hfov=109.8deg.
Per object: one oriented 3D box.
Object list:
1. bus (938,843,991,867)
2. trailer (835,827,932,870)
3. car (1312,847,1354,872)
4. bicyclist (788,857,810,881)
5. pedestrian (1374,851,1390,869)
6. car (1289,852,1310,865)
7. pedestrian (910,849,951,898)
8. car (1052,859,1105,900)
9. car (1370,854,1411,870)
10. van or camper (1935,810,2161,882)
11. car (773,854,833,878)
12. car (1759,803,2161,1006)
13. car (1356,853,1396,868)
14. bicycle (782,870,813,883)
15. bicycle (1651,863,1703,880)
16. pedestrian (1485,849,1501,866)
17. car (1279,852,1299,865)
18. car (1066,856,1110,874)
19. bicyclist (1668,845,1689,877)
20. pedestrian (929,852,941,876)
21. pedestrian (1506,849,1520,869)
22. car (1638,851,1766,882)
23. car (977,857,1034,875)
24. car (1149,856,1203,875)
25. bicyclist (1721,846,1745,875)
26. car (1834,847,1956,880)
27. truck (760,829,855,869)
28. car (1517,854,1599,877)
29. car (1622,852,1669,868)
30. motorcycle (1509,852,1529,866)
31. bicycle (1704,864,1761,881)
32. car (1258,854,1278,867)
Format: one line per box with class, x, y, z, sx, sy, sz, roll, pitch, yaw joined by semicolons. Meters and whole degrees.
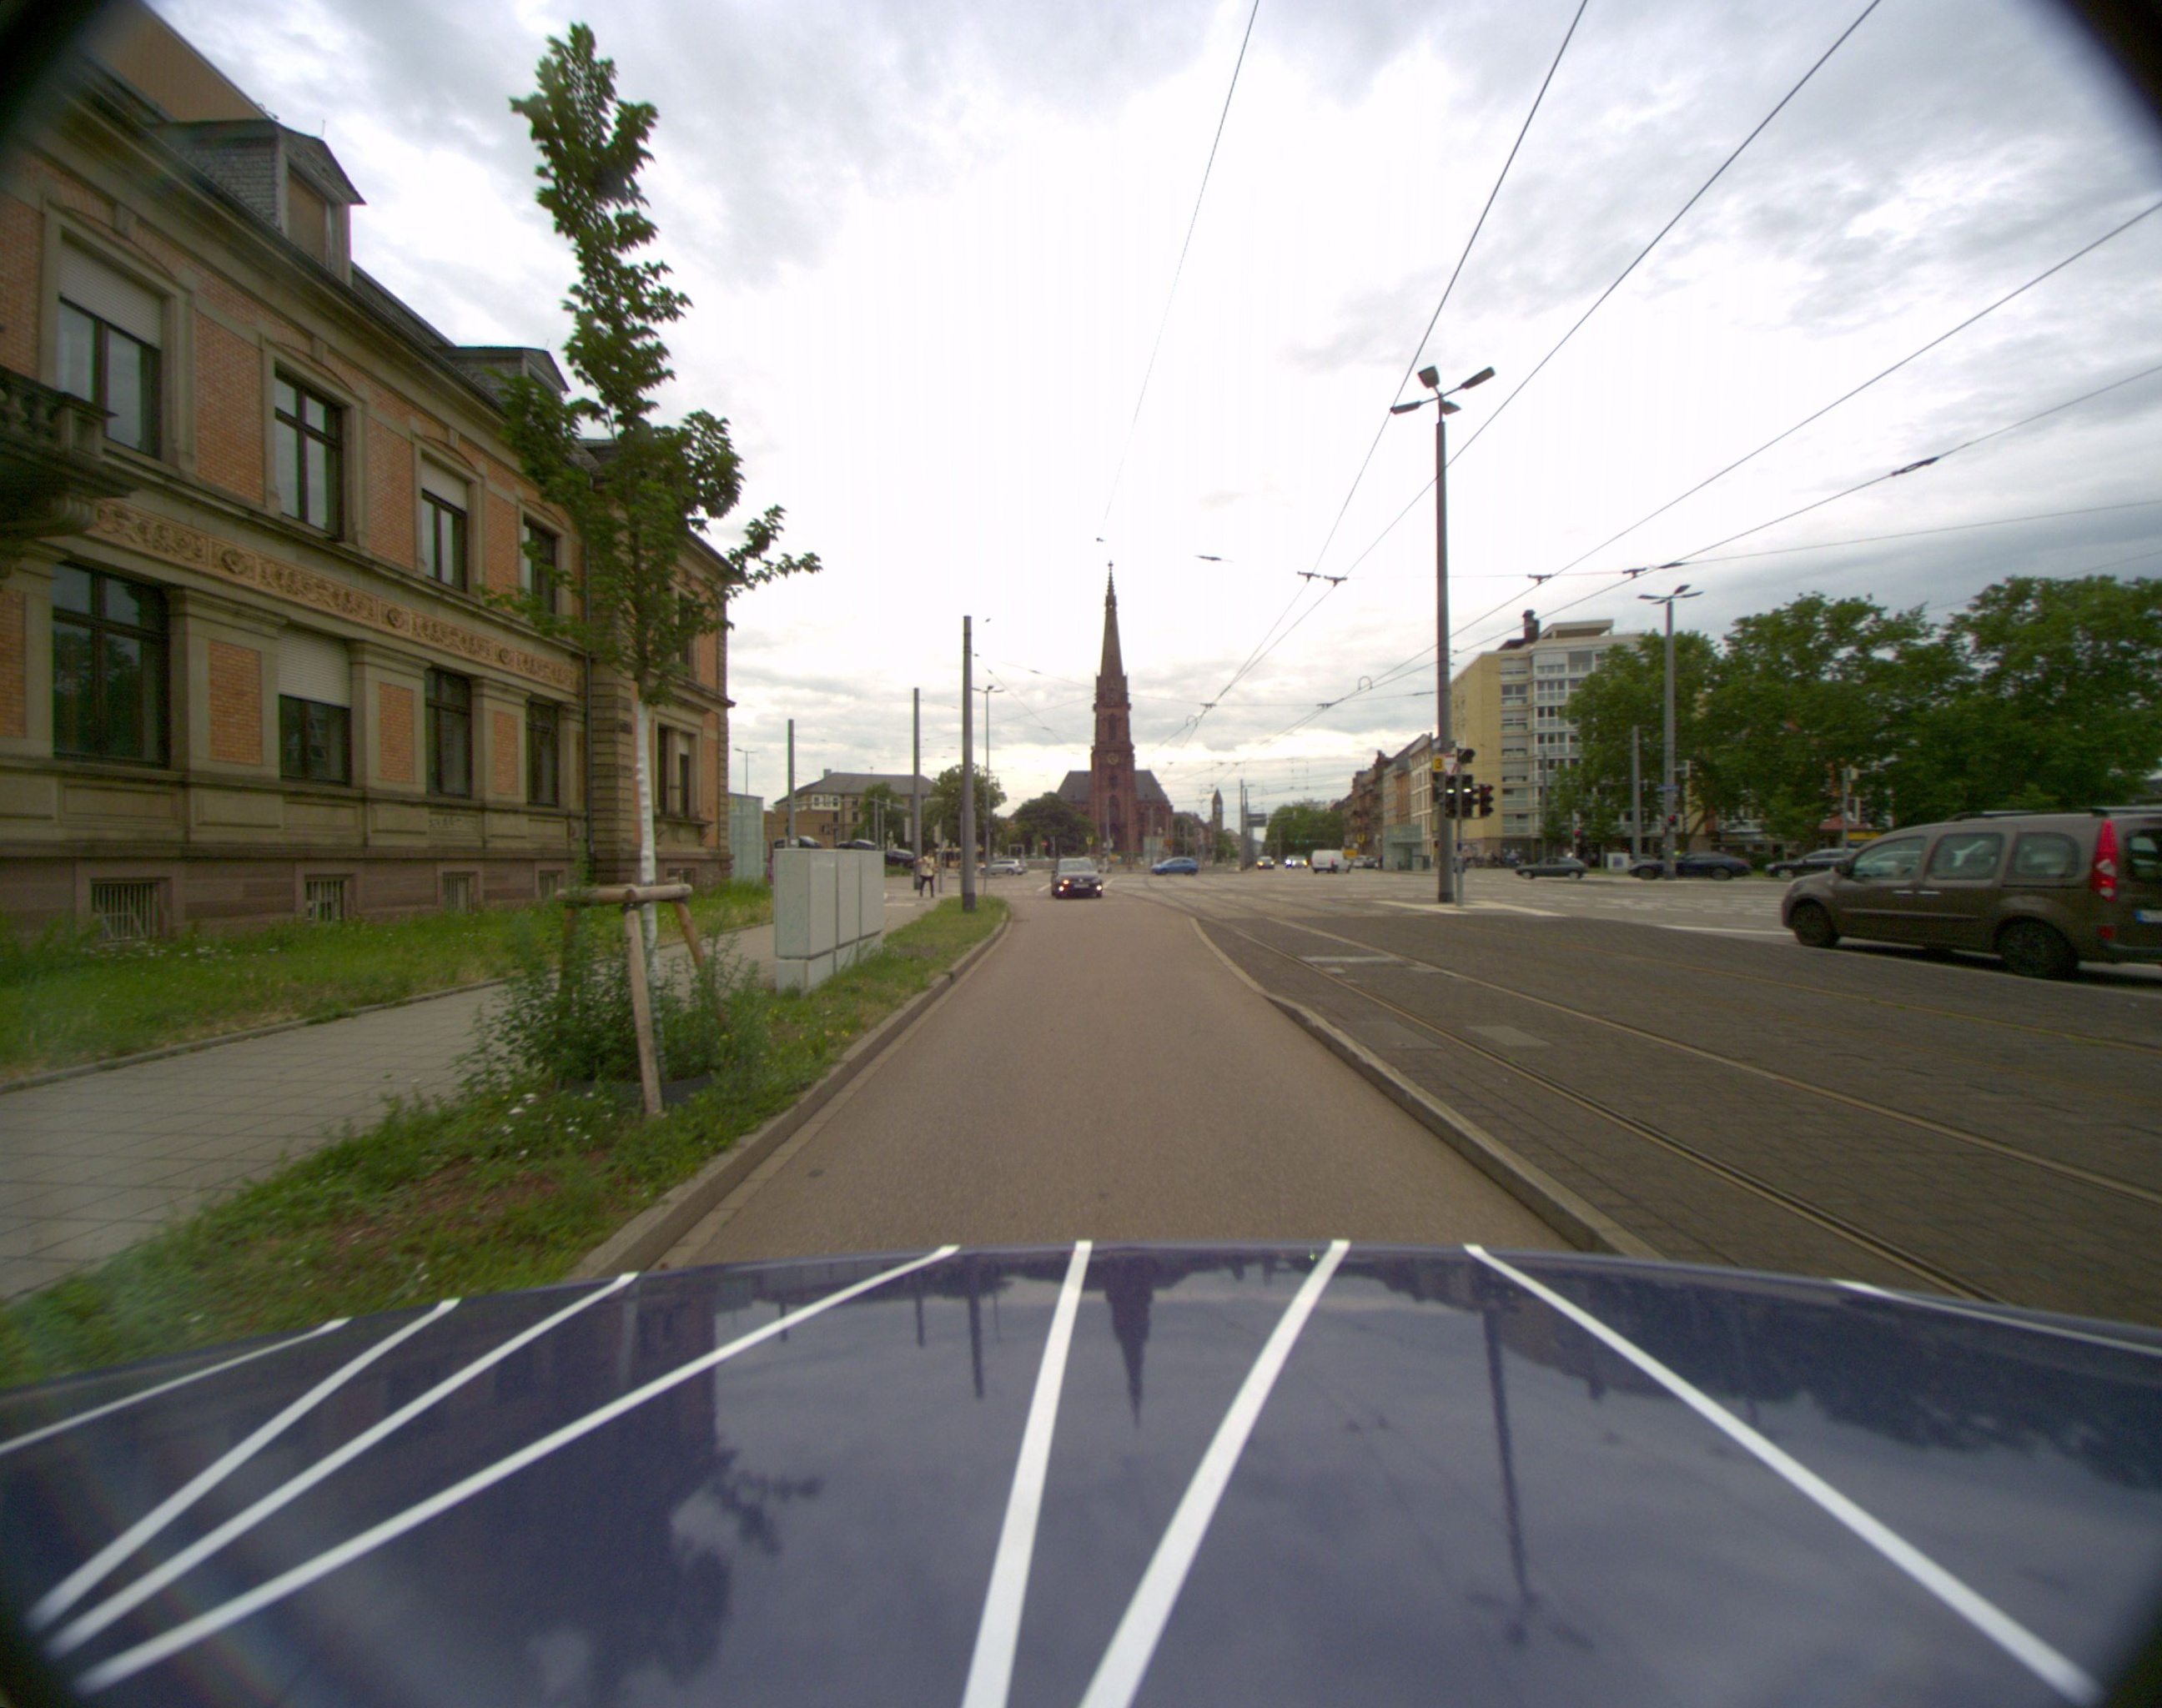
bus;-16.259;0.049;104.920;2.869;3.060;11.990;-2;1;-31
trailer;-19.302;-0.529;74.006;9.528;3.950;3.002;0;1;27
car;21.215;0.426;63.732;1.918;1.871;5.098;0;2;36
bicyclist;-18.166;0.964;48.893;0.758;1.512;1.103;0;0;26
pedestrian;29.912;0.557;75.508;1.178;1.774;1.041;-1;0;8
car;25.539;0.558;88.767;1.997;1.433;4.003;-1;0;11
pedestrian;-5.764;0.734;29.079;1.283;1.856;0.889;0;0;39
car;-0.168;0.882;27.987;1.656;1.404;3.998;0;0;-4
car;35.680;0.928;87.579;4.004;1.745;2.077;-1;1;-21
van or camper;37.885;-0.318;29.565;2.428;2.596;6.034;-2;2;-44
car;-22.489;0.973;61.500;4.512;1.930;2.004;-1;0;28
car;10.909;0.459;9.222;1.692;1.889;4.388;0;0;5
car;35.137;0.764;90.479;4.004;1.745;2.077;-1;1;-21
bicycle;-18.195;1.438;48.809;0.765;0.835;1.830;0;-2;26
bicycle;33.302;0.969;42.453;0.521;0.924;2.217;-1;0;-40
pedestrian;40.380;0.358;74.479;1.039;1.630;1.332;-1;0;9
car;26.598;0.557;97.267;1.997;1.521;4.003;-1;0;10
car;0.614;0.932;64.843;3.617;1.484;2.001;-1;1;6
bicyclist;33.360;0.398;42.421;0.631;1.793;0.795;-1;0;-40
pedestrian;-11.937;0.832;62.129;0.782;1.932;0.980;-1;0;-22
pedestrian;37.208;0.458;65.461;0.706;1.710;0.915;-1;1;1
car;30.305;0.600;37.186;2.004;1.412;4.649;-1;0;-45
car;-6.770;1.091;68.375;4.669;1.484;2.003;-2;-2;18
car;7.964;0.983;63.672;4.060;1.483;1.999;1;-4;-11
bicyclist;34.694;0.336;40.442;0.569;1.499;0.854;-1;-1;-40
car;36.954;0.412;34.628;1.644;1.412;3.727;-1;0;-45
truck;-28.306;-0.470;78.496;10.428;3.898;3.020;0;1;29
car;27.642;0.669;44.121;1.695;1.239;3.727;-1;0;-45
car;53.988;0.561;72.739;1.997;1.543;4.003;-1;0;9
motorcycle;38.653;0.423;67.064;0.863;1.171;2.550;-1;1;13
bicycle;34.696;0.980;40.493;0.521;0.921;2.217;-1;0;-40
car;21.869;0.750;88.938;1.997;1.433;4.003;-1;0;11
